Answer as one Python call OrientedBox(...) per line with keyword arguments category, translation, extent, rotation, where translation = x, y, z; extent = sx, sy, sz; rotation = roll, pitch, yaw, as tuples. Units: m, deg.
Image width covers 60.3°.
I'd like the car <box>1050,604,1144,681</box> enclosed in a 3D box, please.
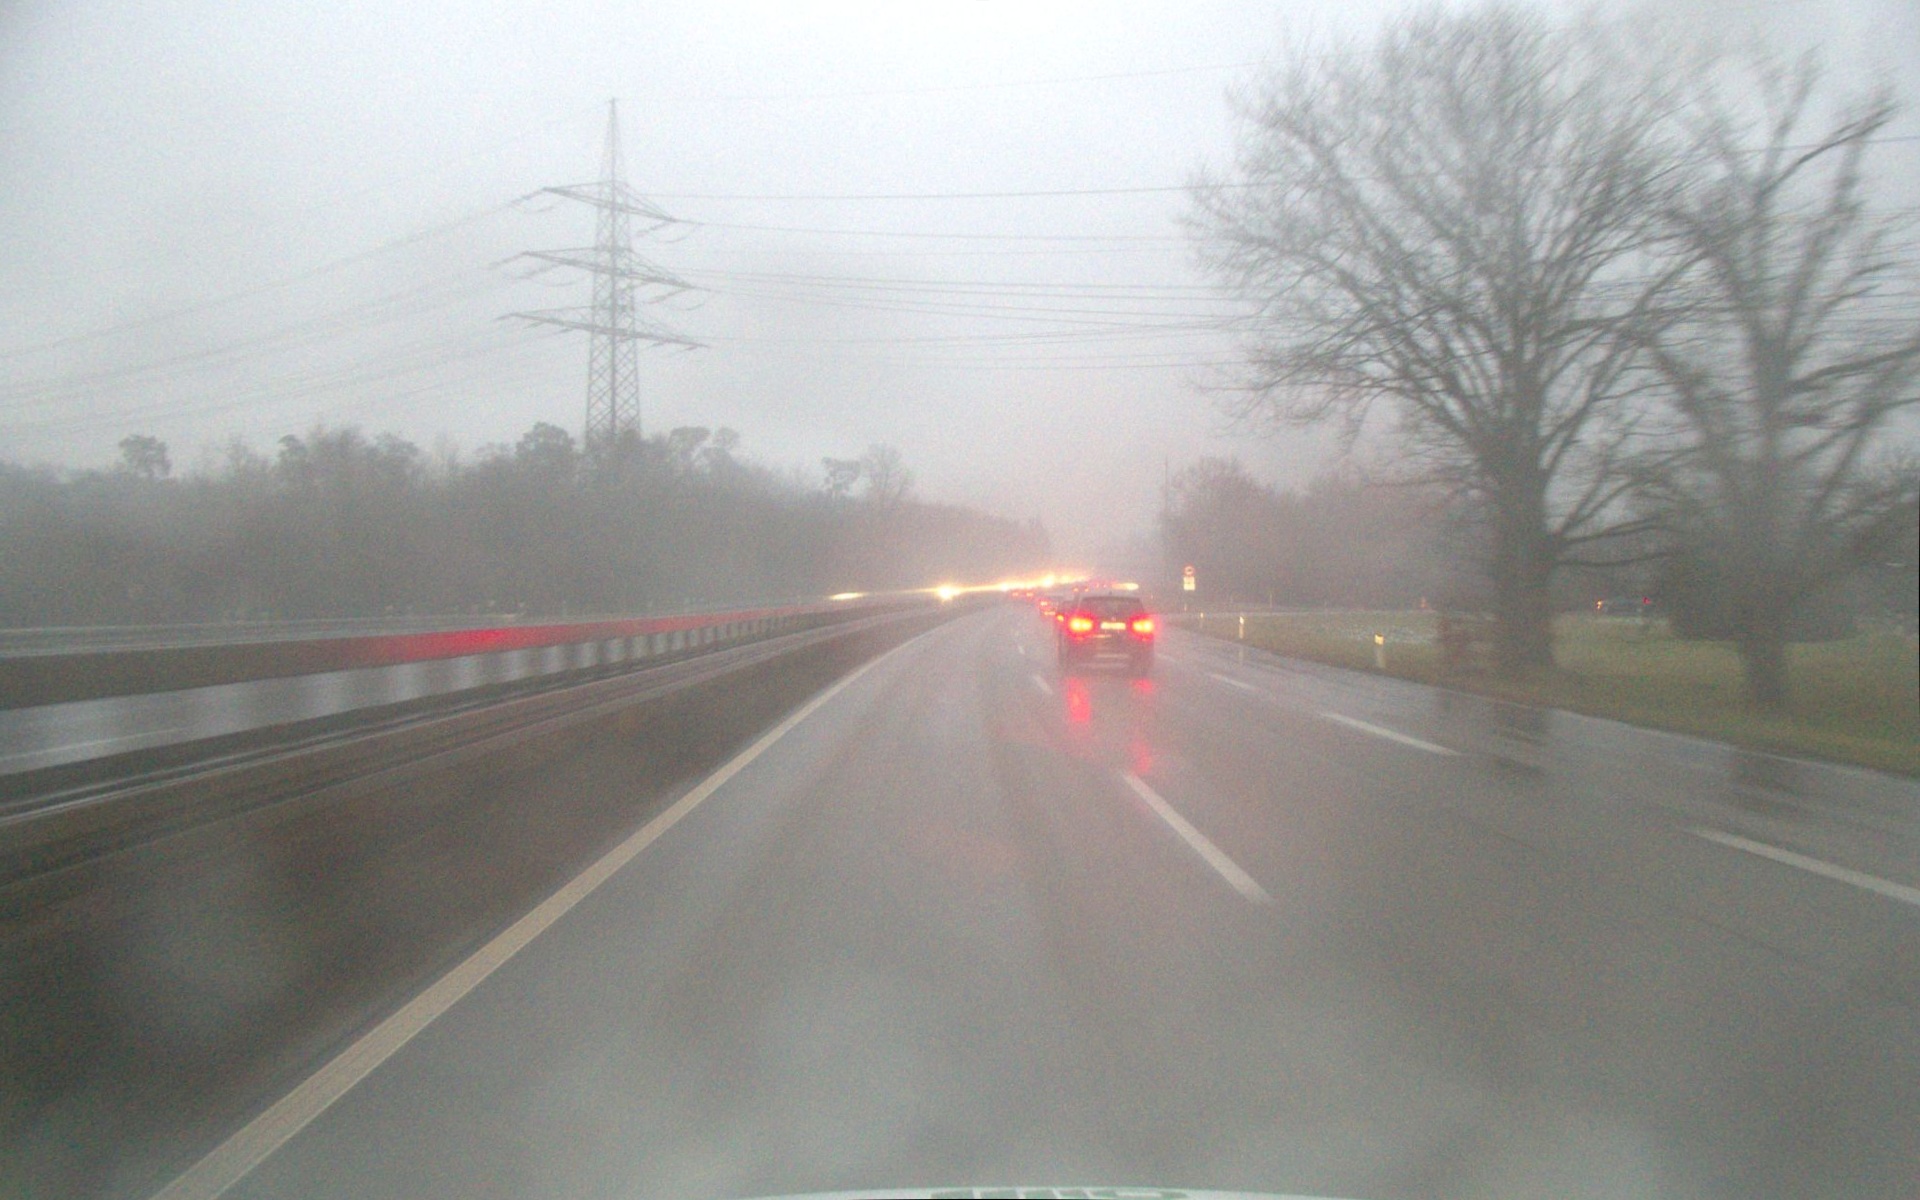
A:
OrientedBox(category="car", translation=(2.948, 0.886, 36.241), extent=(1.644, 1.535, 3.808), rotation=(0, 1, -1))
